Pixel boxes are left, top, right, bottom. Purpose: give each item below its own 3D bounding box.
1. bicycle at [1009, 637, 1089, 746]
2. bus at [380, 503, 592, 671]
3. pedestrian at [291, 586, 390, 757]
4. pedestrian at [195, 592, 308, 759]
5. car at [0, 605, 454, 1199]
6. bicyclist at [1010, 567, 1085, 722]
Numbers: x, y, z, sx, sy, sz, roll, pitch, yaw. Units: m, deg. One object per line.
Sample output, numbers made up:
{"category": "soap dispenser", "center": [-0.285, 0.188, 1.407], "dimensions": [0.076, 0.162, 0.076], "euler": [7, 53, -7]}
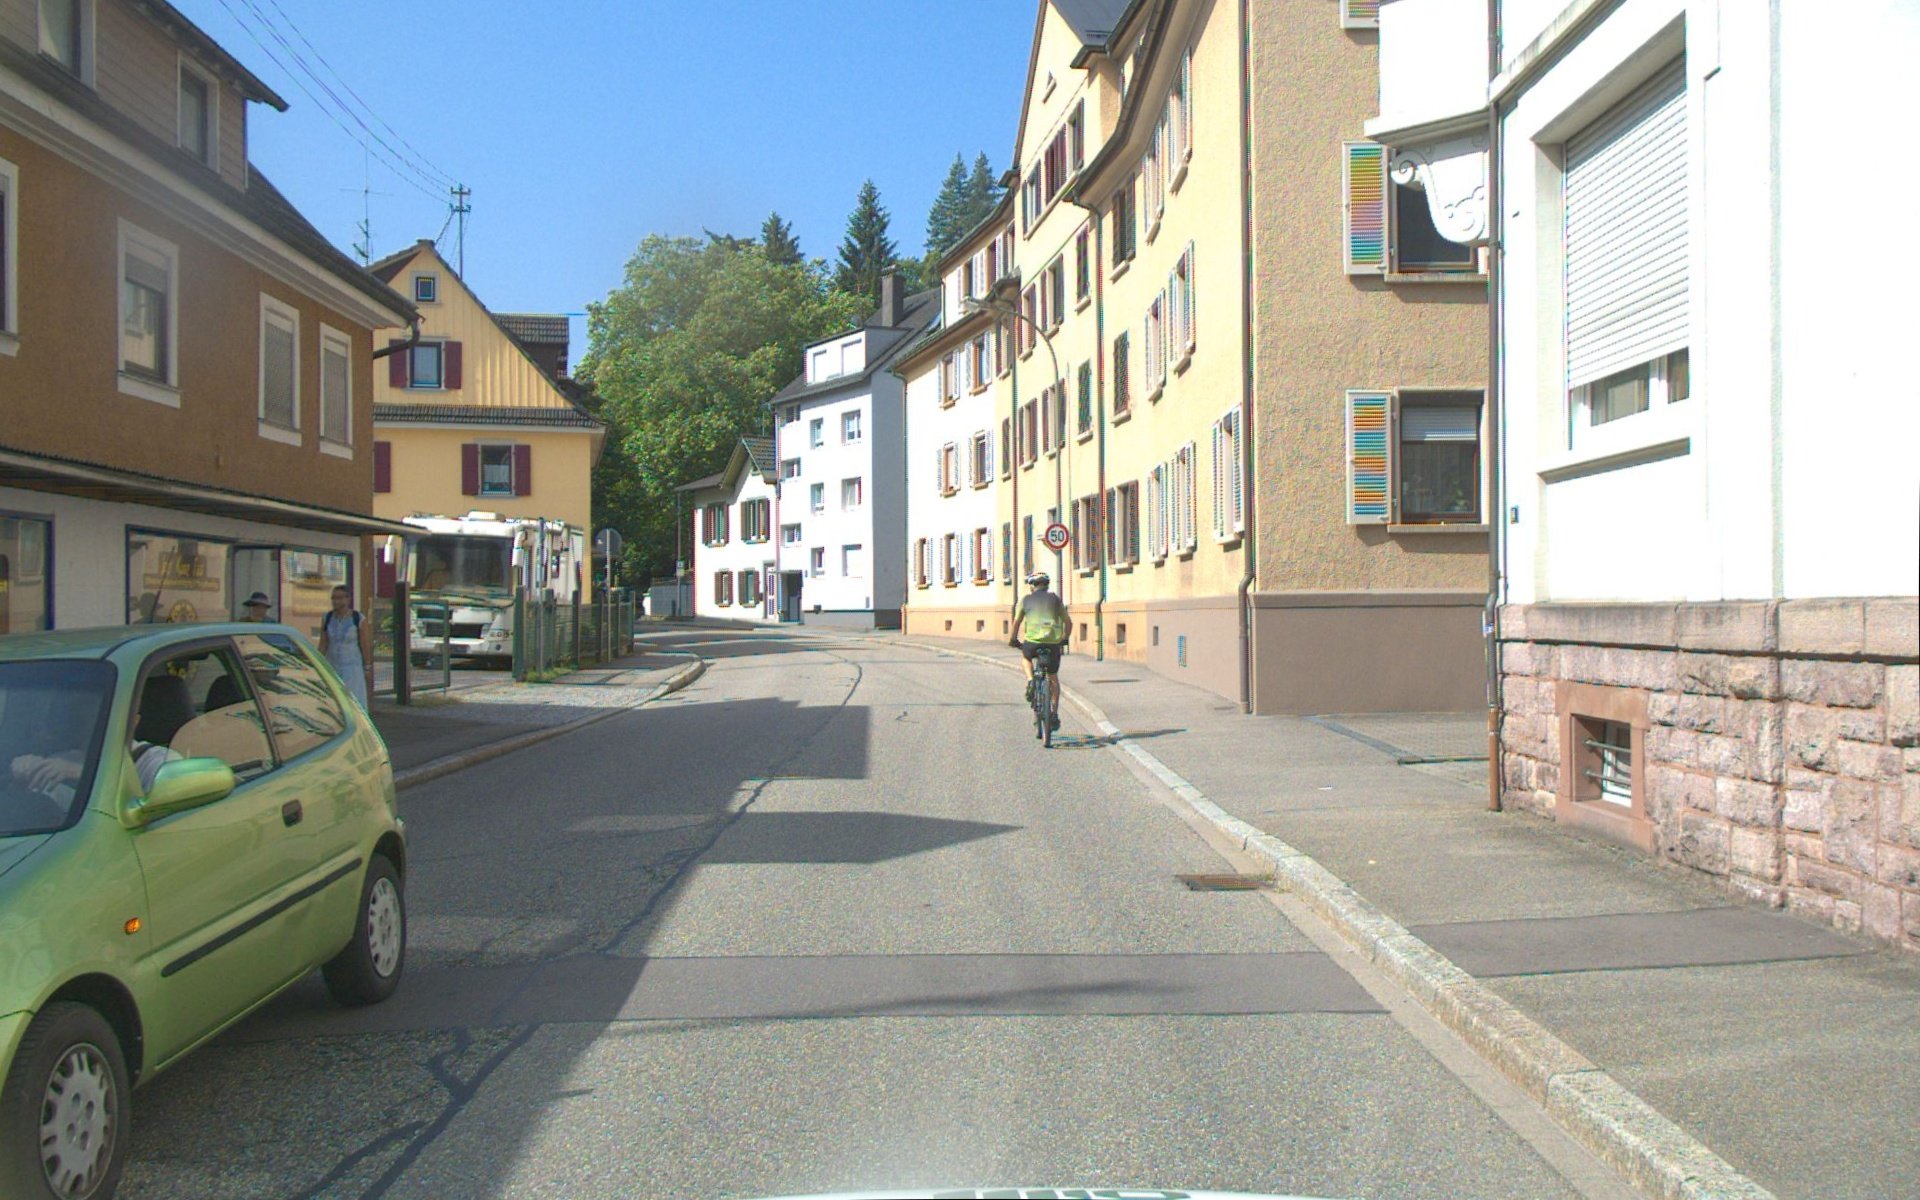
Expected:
{"category": "bicycle", "center": [0.912, 0.931, 17.279], "dimensions": [0.684, 1.053, 1.470], "euler": [0, 0, -3]}
{"category": "bus", "center": [-10.392, -0.264, 37.325], "dimensions": [2.765, 3.284, 9.027], "euler": [1, 0, -4]}
{"category": "pedestrian", "center": [-6.197, 0.699, 16.573], "dimensions": [0.626, 1.655, 0.777], "euler": [3, 0, -1]}
{"category": "pedestrian", "center": [-7.091, 0.738, 16.589], "dimensions": [0.720, 1.592, 0.824], "euler": [3, 0, -1]}
{"category": "car", "center": [-2.867, 0.813, 4.994], "dimensions": [1.564, 1.490, 3.658], "euler": [-3, 0, -2]}
{"category": "bicyclist", "center": [0.903, 0.455, 17.225], "dimensions": [0.672, 1.558, 0.715], "euler": [-1, 0, -3]}
